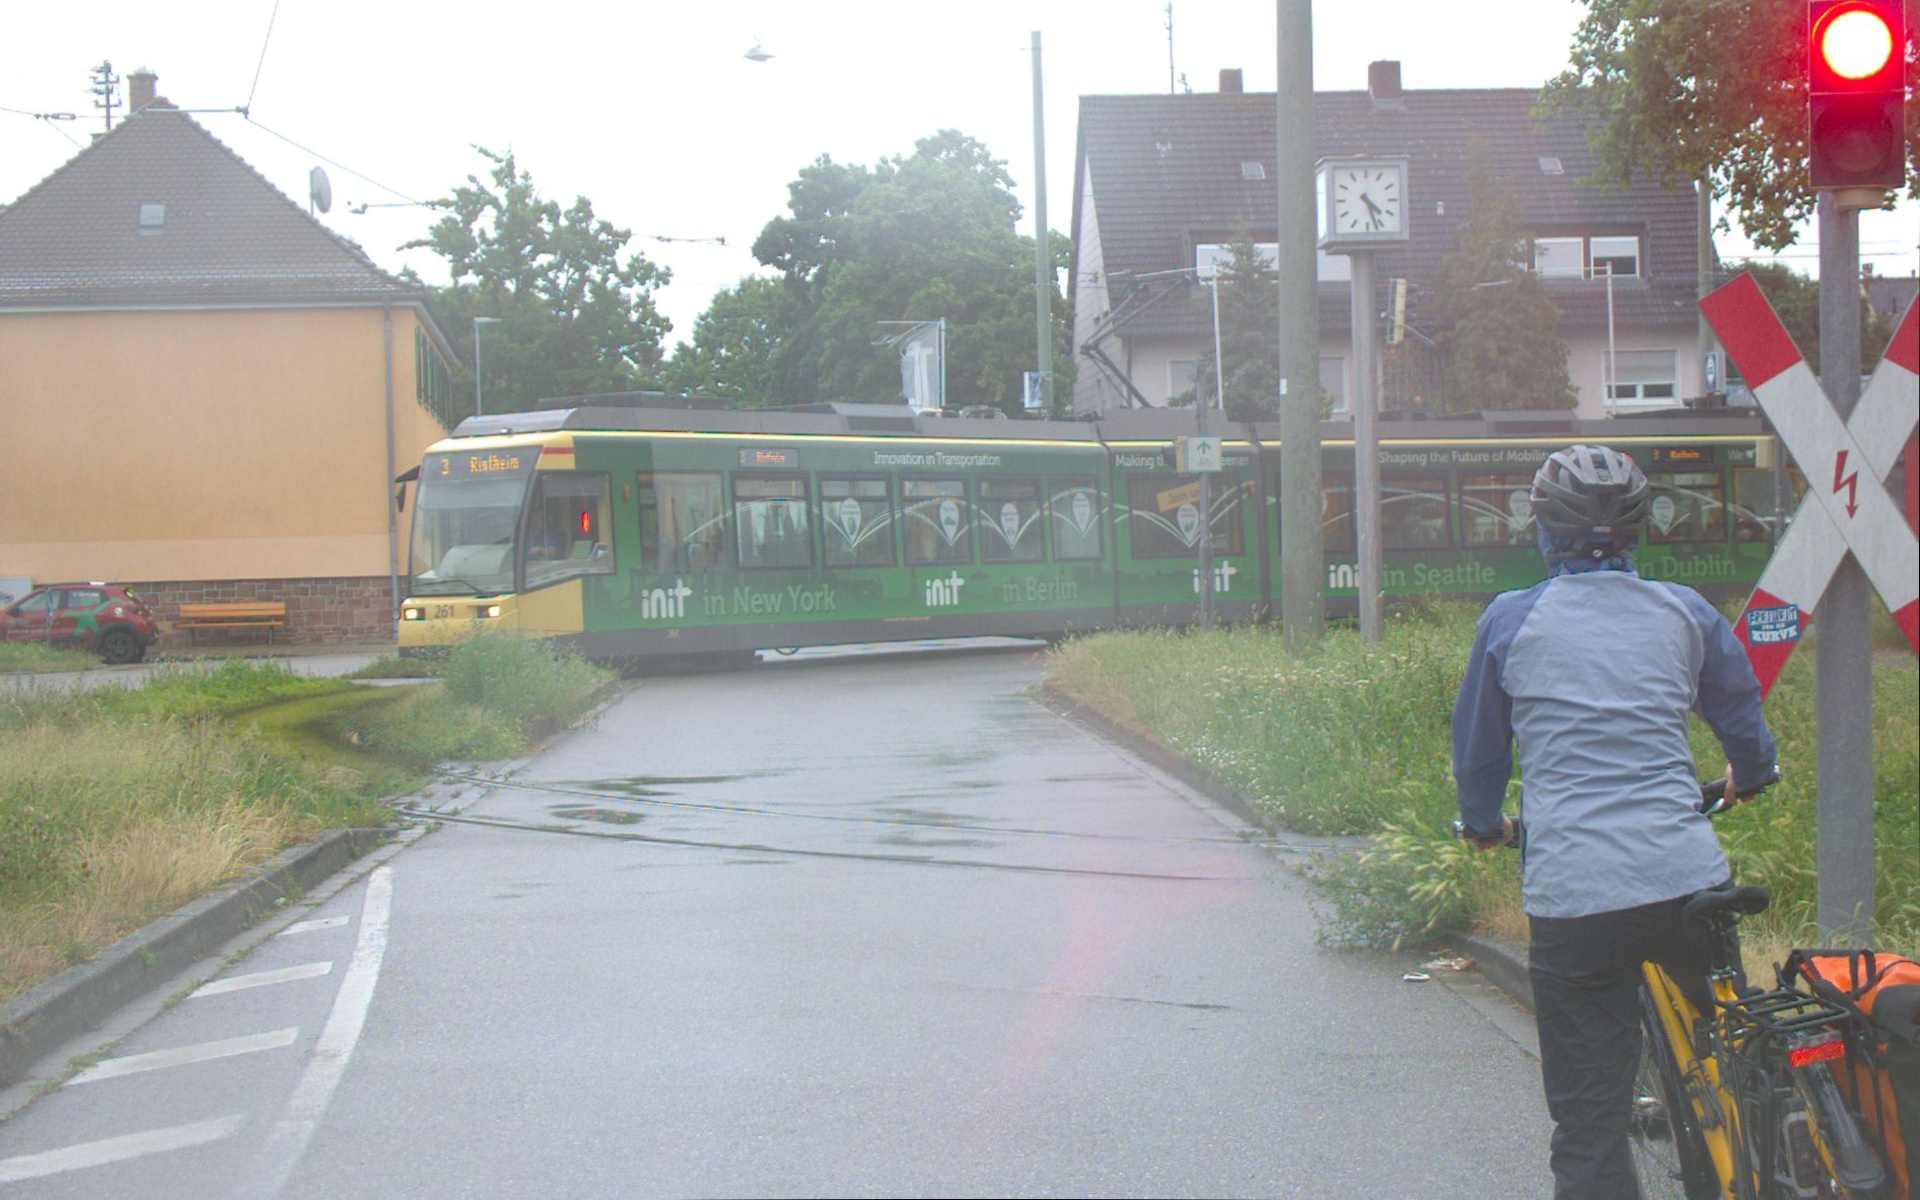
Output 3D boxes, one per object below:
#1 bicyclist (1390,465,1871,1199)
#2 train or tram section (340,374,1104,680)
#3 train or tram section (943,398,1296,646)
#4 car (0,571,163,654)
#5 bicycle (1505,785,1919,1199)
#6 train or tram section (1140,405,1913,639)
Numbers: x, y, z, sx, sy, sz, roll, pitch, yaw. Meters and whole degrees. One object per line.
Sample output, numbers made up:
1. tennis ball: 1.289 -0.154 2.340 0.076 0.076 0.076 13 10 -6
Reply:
1. bicyclist: 1.188 0.583 6.245 0.667 1.620 0.853 1 0 -2
2. train or tram section: -2.702 -1.005 45.429 2.766 3.540 12.178 1 2 37
3. train or tram section: 2.450 -1.167 51.921 2.767 3.541 4.976 2 2 42
4. car: -16.665 0.210 62.596 3.986 1.451 1.834 1 0 -6
5. bicycle: 1.351 0.897 6.071 0.446 1.001 1.728 -1 1 -2
6. train or tram section: 9.384 -1.213 55.966 13.087 3.541 2.770 0 1 -25
